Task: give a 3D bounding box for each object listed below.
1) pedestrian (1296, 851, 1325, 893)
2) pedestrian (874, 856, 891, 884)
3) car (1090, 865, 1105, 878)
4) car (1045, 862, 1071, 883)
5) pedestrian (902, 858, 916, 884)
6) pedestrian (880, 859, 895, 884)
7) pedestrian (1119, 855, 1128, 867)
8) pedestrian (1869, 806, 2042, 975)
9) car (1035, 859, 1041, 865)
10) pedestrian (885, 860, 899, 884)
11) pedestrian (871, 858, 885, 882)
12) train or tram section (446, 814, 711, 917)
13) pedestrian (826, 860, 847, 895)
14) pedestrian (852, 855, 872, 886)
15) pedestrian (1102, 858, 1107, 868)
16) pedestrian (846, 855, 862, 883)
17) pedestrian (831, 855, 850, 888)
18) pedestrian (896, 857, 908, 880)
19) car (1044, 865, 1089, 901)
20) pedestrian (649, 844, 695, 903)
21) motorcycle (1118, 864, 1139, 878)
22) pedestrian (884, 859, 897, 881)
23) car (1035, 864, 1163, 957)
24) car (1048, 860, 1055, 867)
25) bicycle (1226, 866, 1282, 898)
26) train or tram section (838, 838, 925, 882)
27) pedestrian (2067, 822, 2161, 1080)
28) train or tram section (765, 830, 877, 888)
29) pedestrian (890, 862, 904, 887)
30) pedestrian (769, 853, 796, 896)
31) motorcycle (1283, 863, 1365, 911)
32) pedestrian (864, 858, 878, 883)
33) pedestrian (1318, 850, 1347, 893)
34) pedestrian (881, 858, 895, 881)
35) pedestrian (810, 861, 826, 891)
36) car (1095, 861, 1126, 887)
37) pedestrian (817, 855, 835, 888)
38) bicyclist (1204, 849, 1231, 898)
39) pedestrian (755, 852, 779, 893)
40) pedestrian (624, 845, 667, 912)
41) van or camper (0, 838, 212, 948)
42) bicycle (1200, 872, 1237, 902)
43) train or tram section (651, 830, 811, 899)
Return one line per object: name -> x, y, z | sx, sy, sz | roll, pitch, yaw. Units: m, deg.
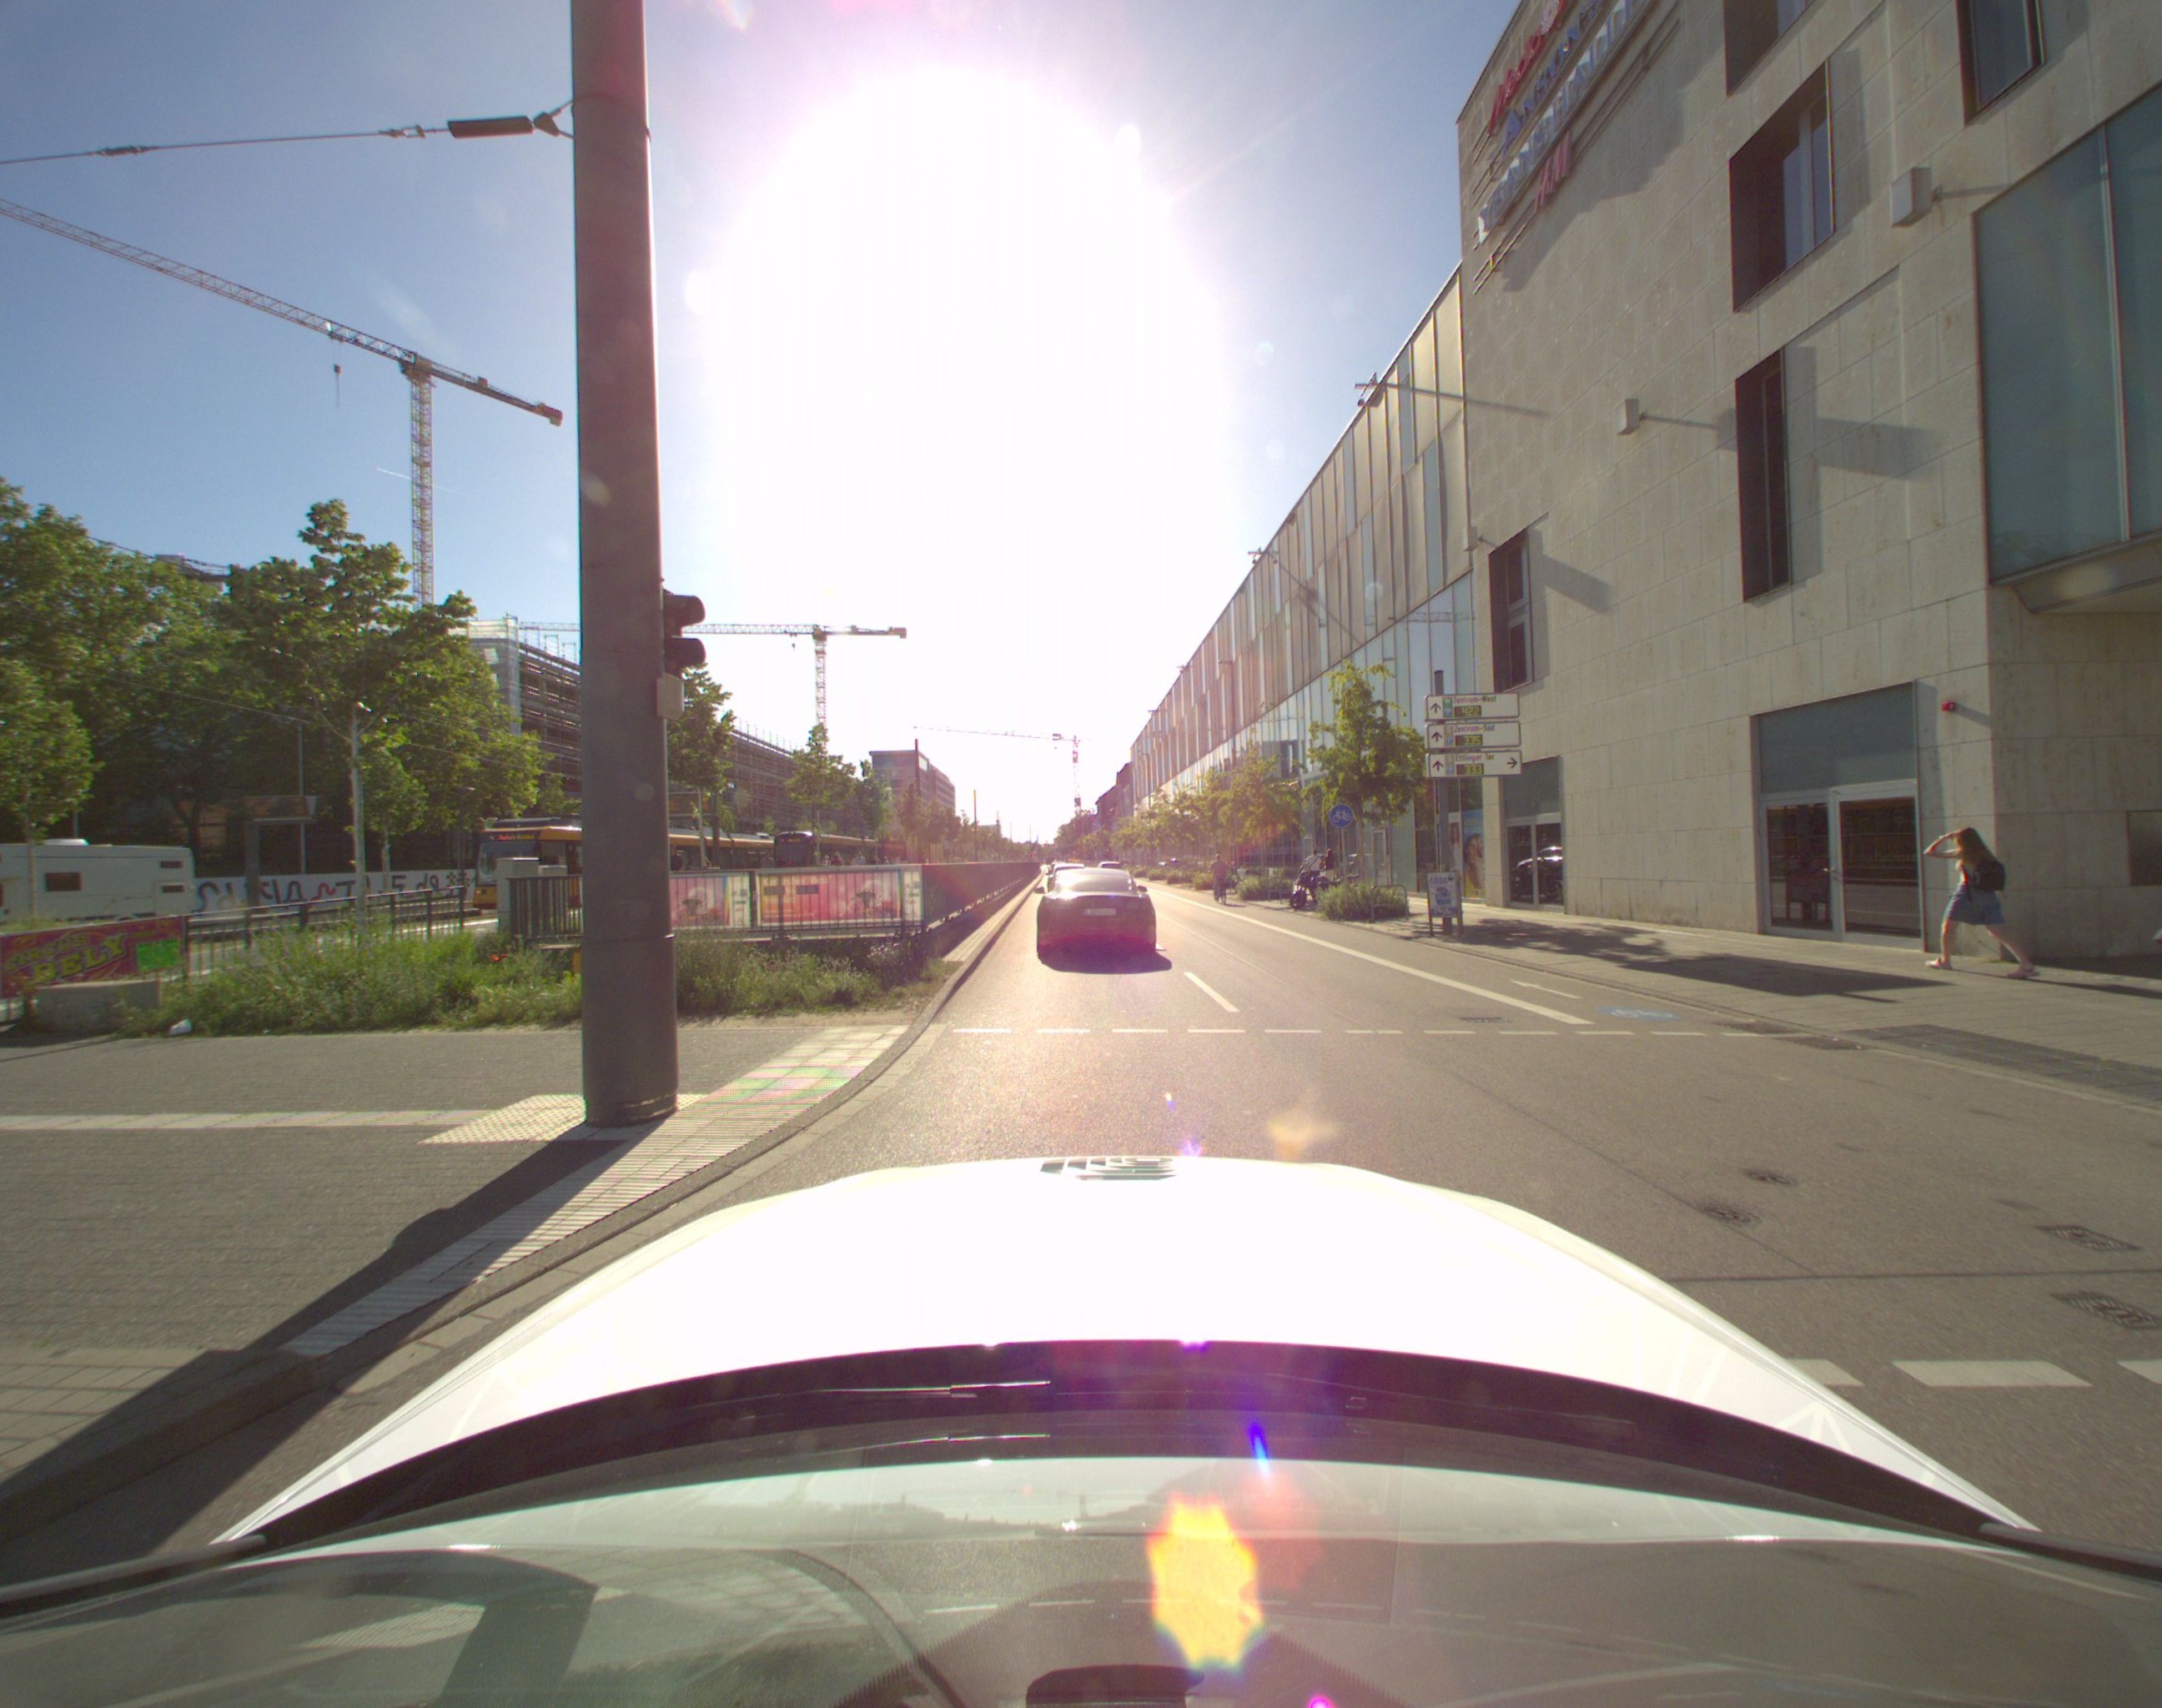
pedestrian -> 9.187, 0.720, 32.636 | 0.820, 1.658, 0.898 | -1, -1, -6
pedestrian -> -11.715, 0.945, 48.012 | 0.739, 1.628, 0.861 | -1, -1, -1
car -> 2.080, 2.219, 104.775 | 1.881, 1.596, 4.001 | -2, 0, 1
car -> -1.884, 1.519, 68.172 | 1.881, 1.596, 4.001 | -2, 0, 1
pedestrian -> -11.251, 1.115, 53.292 | 0.739, 1.628, 0.861 | -1, -1, -1
pedestrian -> -12.376, 1.115, 52.178 | 0.739, 1.628, 0.861 | -1, -1, -1
pedestrian -> 6.550, 1.054, 125.098 | 1.093, 1.863, 1.521 | -2, -1, -3
pedestrian -> 10.064, 0.402, 9.421 | 0.726, 1.801, 1.065 | -4, -1, -2
car -> -13.069, 2.460, 247.710 | 1.989, 1.684, 3.995 | 0, -1, -3
pedestrian -> -13.259, 1.259, 57.172 | 0.739, 1.628, 0.946 | -1, -1, -1
pedestrian -> -14.063, 1.131, 56.361 | 0.739, 1.628, 0.861 | -1, -1, -1
train or tram section -> -19.089, 0.431, 32.688 | 2.863, 3.310, 13.062 | 0, -1, -2
pedestrian -> -11.675, 1.102, 38.926 | 0.739, 1.628, 0.861 | -1, -1, -1
pedestrian -> -13.066, 0.975, 48.677 | 0.884, 1.851, 1.006 | -1, -1, -2
pedestrian -> 4.463, 1.784, 155.876 | 0.849, 1.863, 0.929 | -2, -1, -3
pedestrian -> -14.166, 0.941, 50.835 | 0.739, 1.694, 0.861 | -1, -1, -1
pedestrian -> -13.470, 0.988, 45.605 | 0.767, 1.811, 1.030 | -2, -1, -3
pedestrian -> -13.367, 1.077, 60.837 | 0.739, 1.628, 0.861 | -1, -1, -1
car -> -0.582, 1.151, 33.512 | 1.711, 1.320, 3.998 | -1, 0, -1
pedestrian -> -12.632, 0.598, 25.160 | 0.872, 1.775, 1.187 | 0, 0, -5
motorcycle -> 5.181, 1.833, 88.285 | 2.055, 1.353, 0.656 | -4, -1, 21
pedestrian -> -14.222, 1.164, 60.792 | 0.739, 1.628, 0.861 | -1, -1, -1
car -> 0.303, 0.934, 14.863 | 1.992, 1.434, 4.412 | 0, -2, 0
car -> -7.417, 2.321, 205.684 | 1.808, 1.809, 4.037 | -1, 0, -1
bicycle -> 7.077, 1.142, 33.451 | 2.076, 1.205, 0.951 | -3, -1, 4
train or tram section -> -17.095, 0.563, 72.107 | 2.863, 3.280, 22.126 | 0, -1, -2
pedestrian -> 7.482, 0.638, 5.514 | 0.655, 1.702, 0.697 | -4, -1, -4
train or tram section -> -16.551, 0.358, 53.487 | 2.863, 3.280, 15.173 | 0, -1, -2
pedestrian -> -12.029, 1.337, 53.222 | 0.739, 1.628, 0.861 | -1, -1, -1
pedestrian -> -12.505, 0.858, 34.131 | 0.789, 1.775, 0.977 | 0, 0, -5
motorcycle -> 7.311, 0.974, 24.598 | 2.180, 1.324, 0.903 | -3, -1, 2
pedestrian -> -13.982, 1.072, 54.239 | 0.739, 1.628, 0.861 | -1, -1, -1
pedestrian -> 10.029, 0.690, 32.525 | 0.705, 1.658, 0.898 | -3, -1, -6
pedestrian -> -13.792, 1.119, 58.235 | 0.739, 1.628, 0.861 | -1, -1, -1
pedestrian -> -13.237, 1.087, 40.949 | 0.646, 1.512, 0.587 | 0, 0, -5
car -> 1.861, 1.260, 51.861 | 1.779, 1.546, 4.037 | -1, 0, -1
pedestrian -> -14.283, 0.983, 45.690 | 0.670, 1.811, 1.074 | -2, -1, -3
bicyclist -> 5.002, 0.713, 29.870 | 0.724, 1.737, 0.996 | -2, -1, -5
pedestrian -> -13.749, 0.792, 35.672 | 0.760, 1.775, 0.825 | 0, 0, -4
pedestrian -> -11.824, 0.654, 22.141 | 0.701, 1.775, 0.958 | 0, 0, -5
van or camper -> -30.266, 1.097, 23.550 | 2.599, 2.937, 7.334 | -2, 0, -3
bicycle -> 5.025, 1.197, 29.929 | 0.727, 0.983, 2.328 | -3, -1, -5
train or tram section -> -19.482, 0.553, 47.181 | 2.840, 3.321, 15.954 | 0, 0, -2
